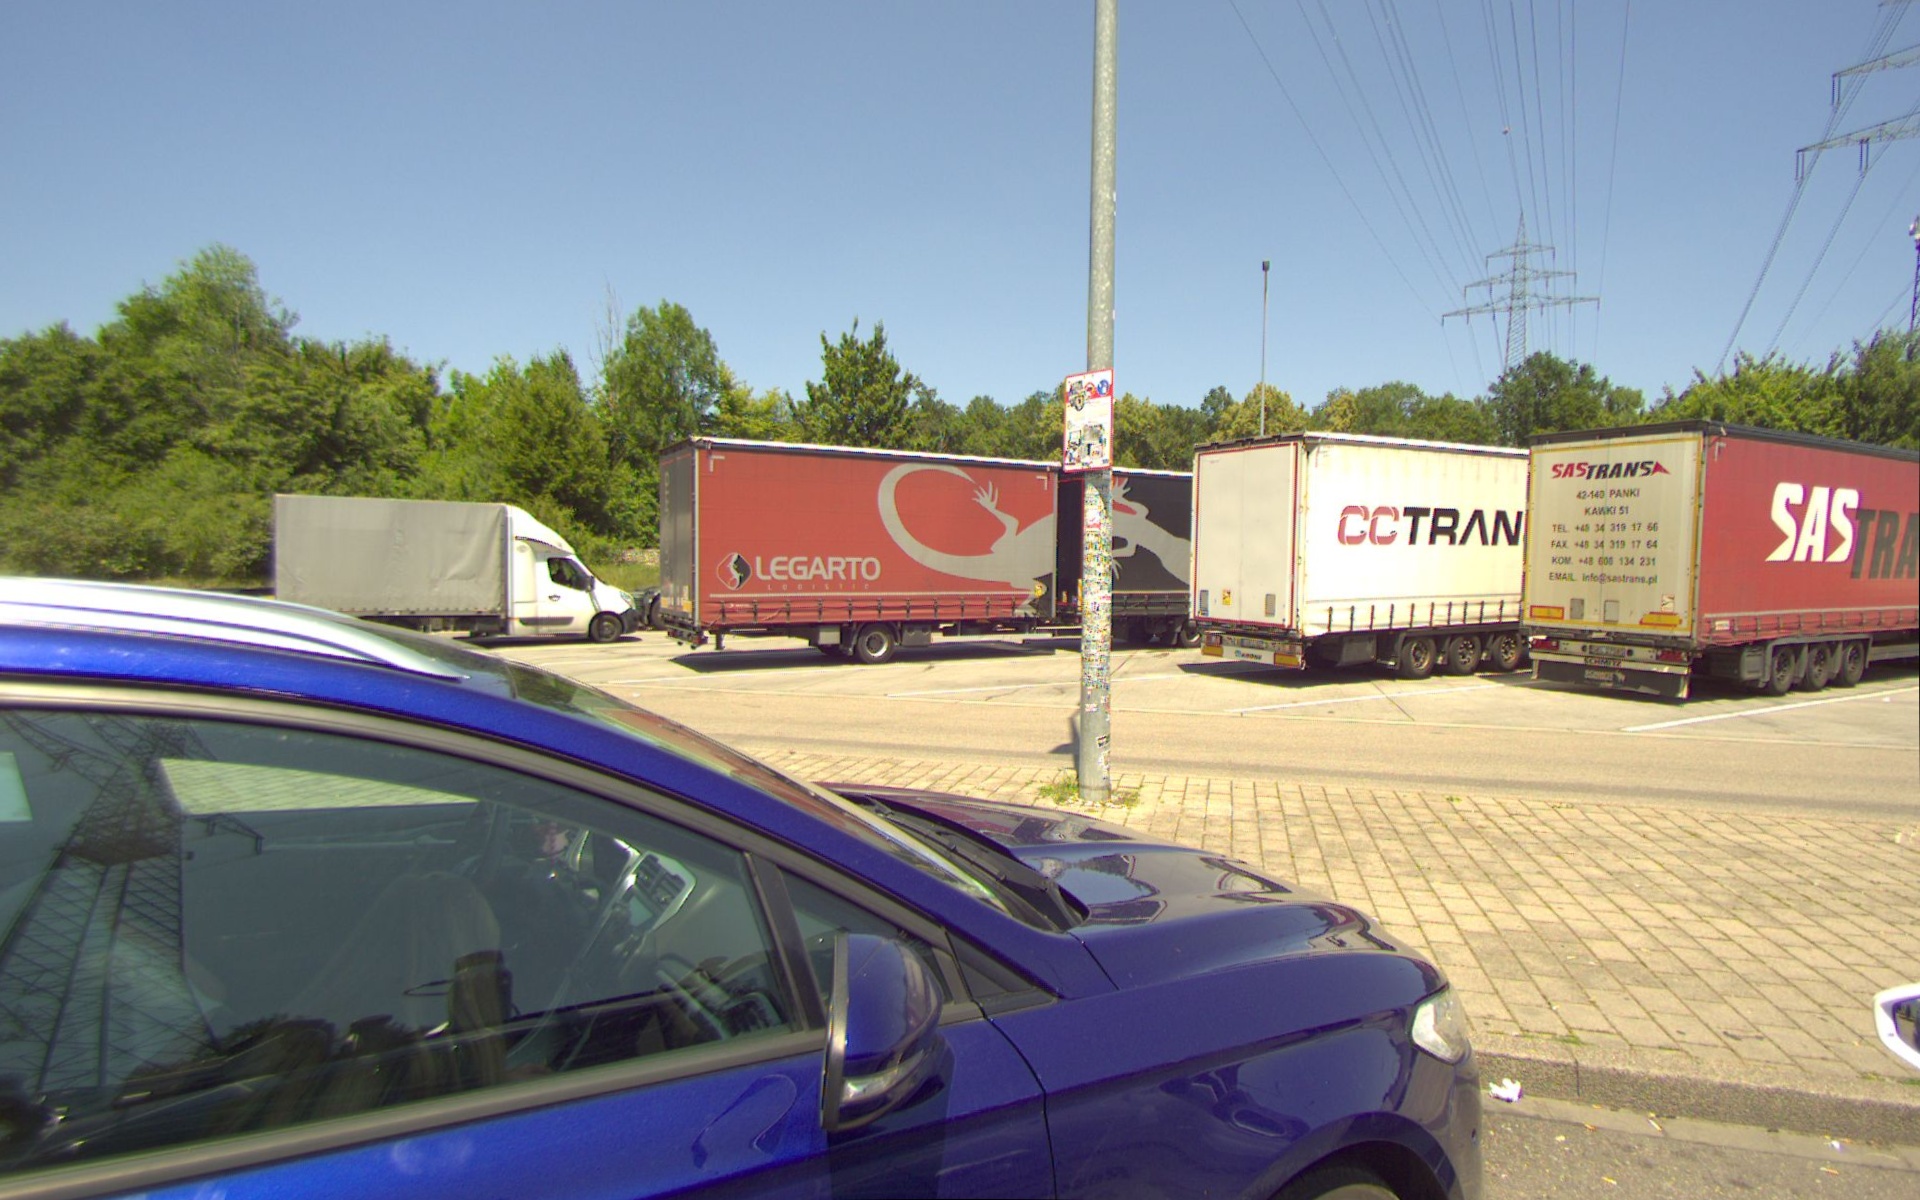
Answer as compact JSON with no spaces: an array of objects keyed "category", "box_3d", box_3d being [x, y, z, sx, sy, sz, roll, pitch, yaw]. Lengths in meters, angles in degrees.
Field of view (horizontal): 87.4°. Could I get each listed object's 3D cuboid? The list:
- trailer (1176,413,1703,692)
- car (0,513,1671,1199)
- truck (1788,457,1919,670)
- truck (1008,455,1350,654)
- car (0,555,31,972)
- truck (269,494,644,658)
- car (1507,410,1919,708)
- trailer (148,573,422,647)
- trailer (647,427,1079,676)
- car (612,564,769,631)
[{"category":"trailer","box_3d":[10.083,-0.884,20.046,12.786,4.325,2.800,-1,2,-31]},{"category":"car","box_3d":[-1.019,0.669,1.447,4.380,1.464,1.771,0,0,-32]},{"category":"truck","box_3d":[21.114,-0.774,21.841,6.163,4.169,2.683,-1,3,-30]},{"category":"truck","box_3d":[5.575,-1.081,24.808,8.683,4.248,2.800,-1,2,-30]},{"category":"car","box_3d":[-4.645,0.554,2.099,3.700,1.432,1.595,0,0,-32]},{"category":"truck","box_3d":[-11.142,-0.591,22.858,7.219,3.277,2.308,-2,3,-29]},{"category":"car","box_3d":[15.188,-0.694,18.431,12.777,4.169,2.683,-1,3,-30]},{"category":"trailer","box_3d":[-15.977,0.235,24.166,5.332,1.617,1.585,0,0,-30]},{"category":"trailer","box_3d":[-1.772,-0.933,20.486,8.389,4.248,2.800,-1,2,-30]},{"category":"car","box_3d":[-7.631,-0.053,28.500,3.953,1.773,1.902,0,0,-30]}]
